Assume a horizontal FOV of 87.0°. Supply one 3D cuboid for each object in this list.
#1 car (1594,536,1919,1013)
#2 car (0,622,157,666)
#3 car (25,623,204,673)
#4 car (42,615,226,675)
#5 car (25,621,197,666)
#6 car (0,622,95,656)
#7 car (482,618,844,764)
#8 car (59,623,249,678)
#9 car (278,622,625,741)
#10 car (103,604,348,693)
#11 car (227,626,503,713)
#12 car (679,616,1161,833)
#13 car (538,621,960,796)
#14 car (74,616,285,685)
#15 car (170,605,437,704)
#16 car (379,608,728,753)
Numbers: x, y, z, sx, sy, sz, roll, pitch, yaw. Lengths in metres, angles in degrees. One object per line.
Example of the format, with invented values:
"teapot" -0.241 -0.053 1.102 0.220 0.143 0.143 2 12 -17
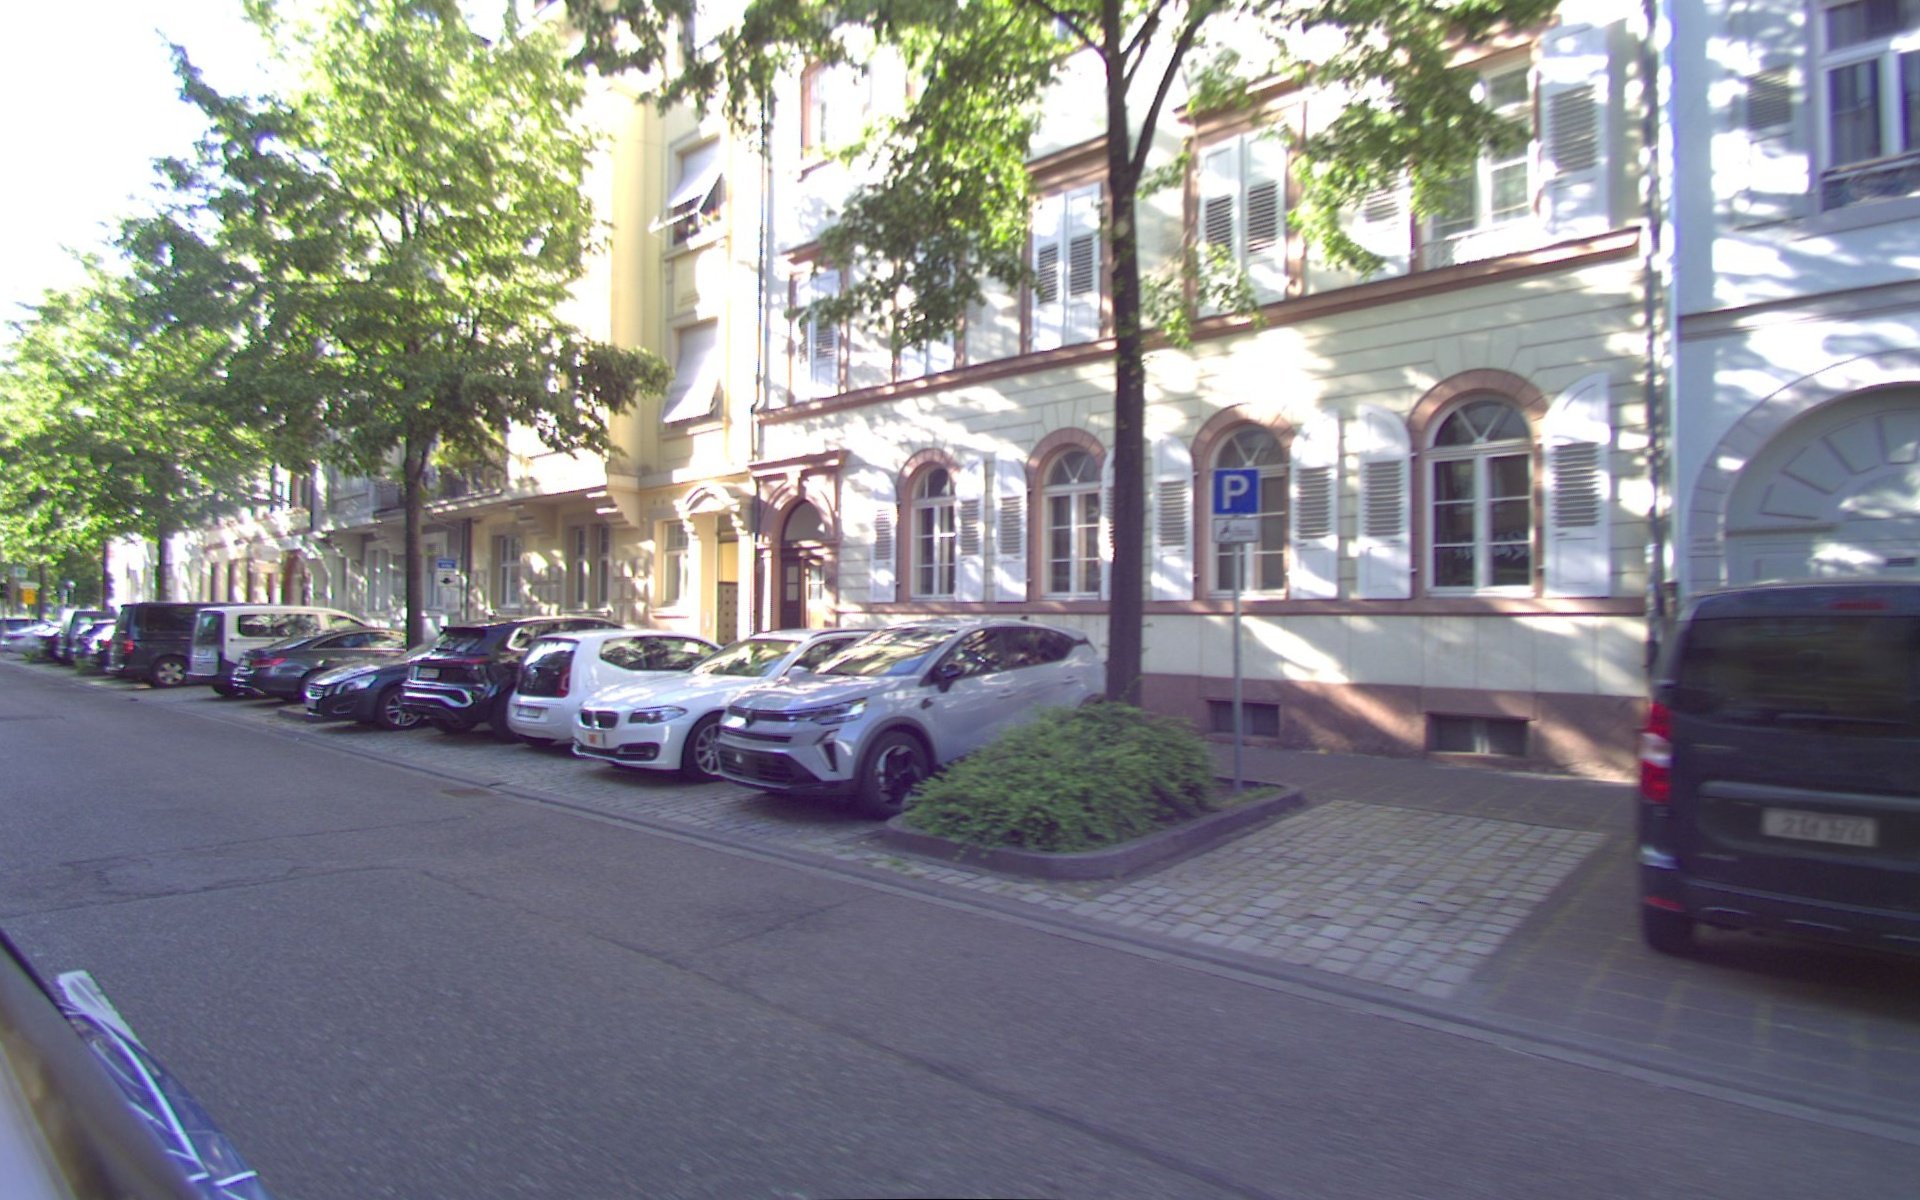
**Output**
"car" 5.009 0.683 5.491 1.916 1.785 4.418 -1 -2 42
"car" -34.255 1.646 39.170 1.996 1.503 4.657 1 0 36
"car" -28.856 1.593 34.683 1.957 1.556 4.307 -1 -1 31
"car" -26.983 1.417 33.194 1.926 1.838 4.301 -1 -1 35
"car" -31.980 1.593 38.255 1.996 1.503 4.657 -2 -1 36
"car" -43.786 1.799 47.777 1.944 1.556 4.292 -1 -2 43
"car" -3.706 1.035 13.274 1.808 1.594 4.294 -1 -2 40
"car" -24.988 1.510 31.513 1.914 1.556 4.298 -1 -1 38
"car" -7.690 1.125 15.638 1.916 1.552 4.417 -1 -2 43
"car" -17.638 1.100 24.476 1.930 1.941 4.523 -1 -2 43
"car" -11.287 1.236 19.343 4.285 1.450 1.920 1 -1 -40
"car" -0.168 0.931 9.504 1.917 1.552 4.415 -1 -2 45
"car" -2.141 1.014 11.365 1.915 1.552 4.421 -1 -1 40
"car" -21.462 1.333 27.967 1.914 1.746 4.297 -1 -1 39
"car" -13.626 1.064 21.260 1.911 1.848 4.305 -1 -1 33
"car" -5.568 1.004 14.409 1.911 1.722 4.304 -1 -1 33
